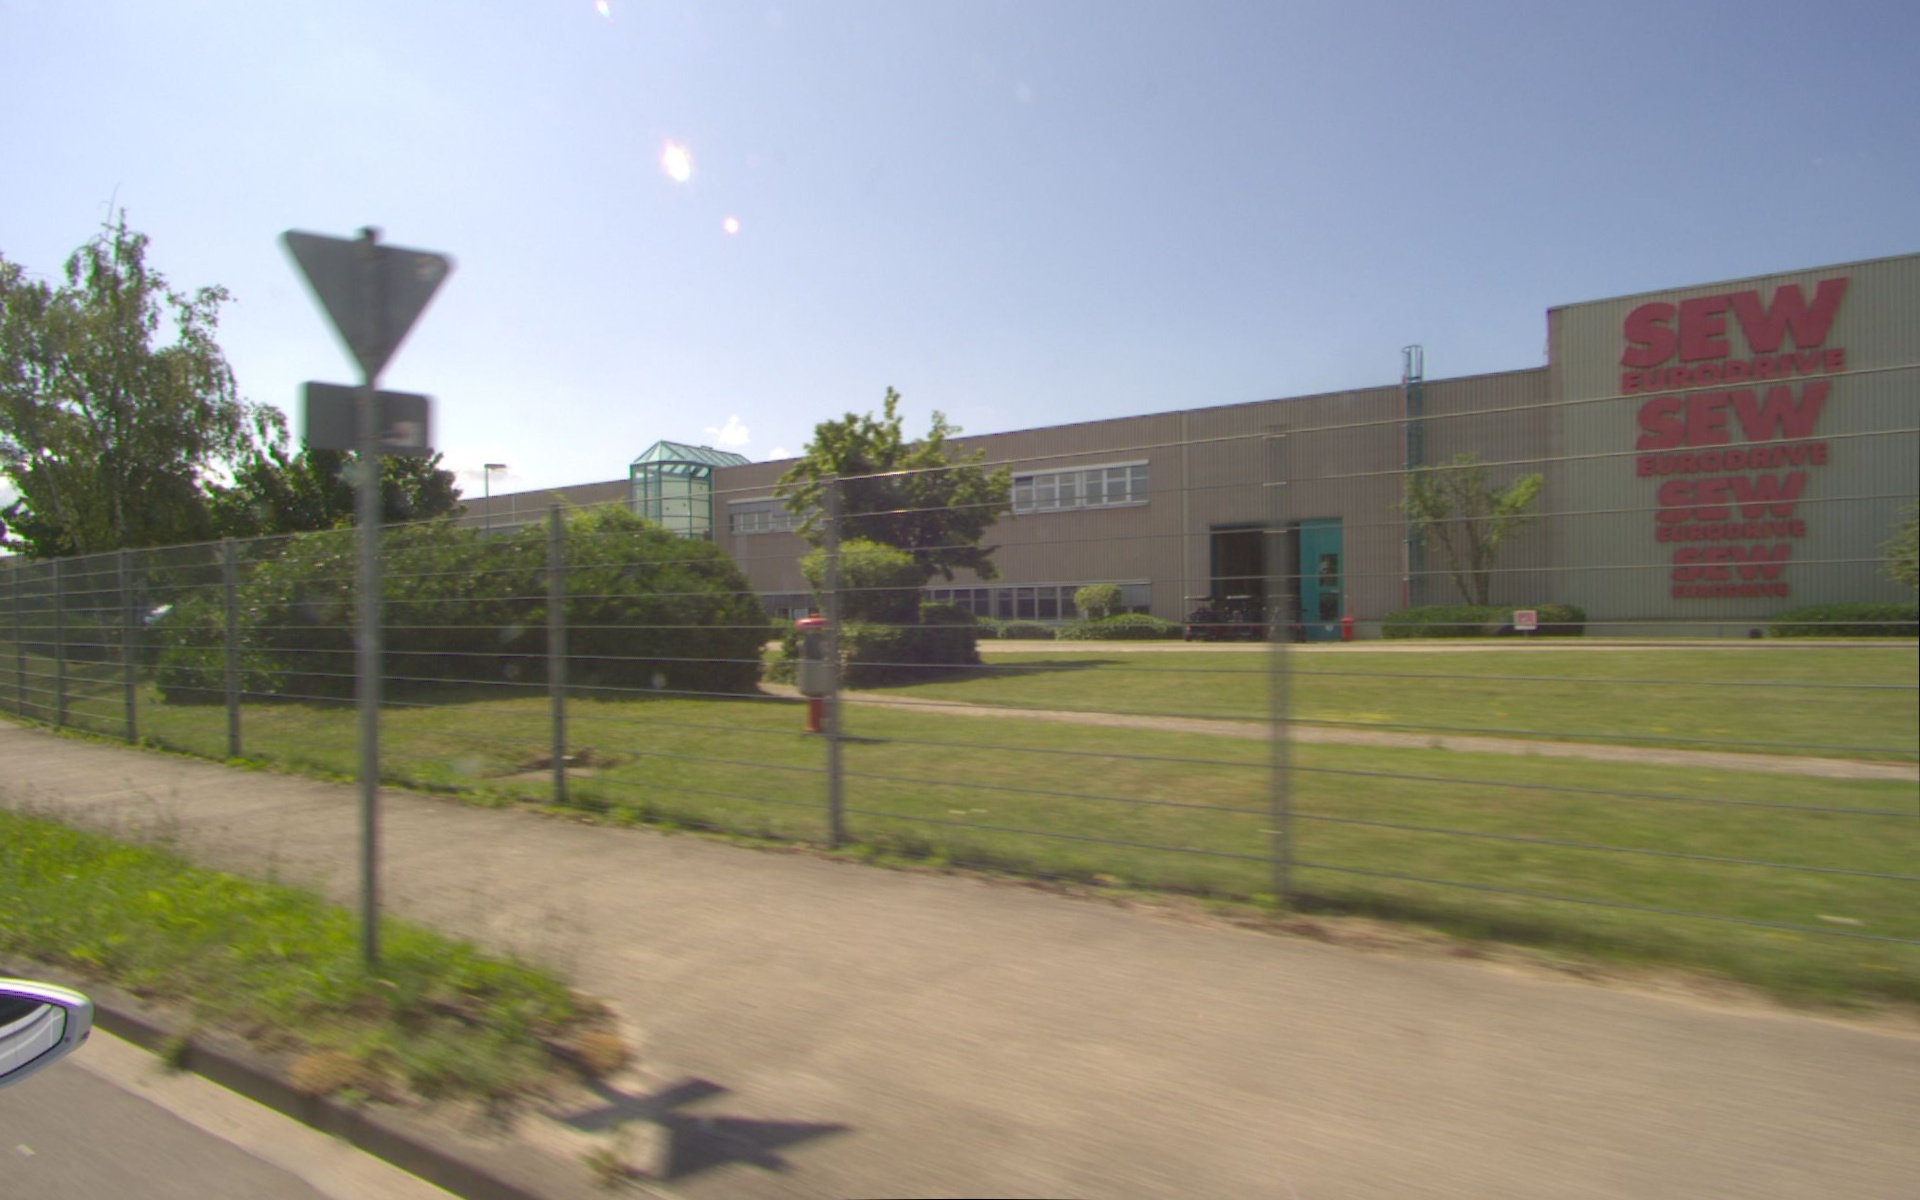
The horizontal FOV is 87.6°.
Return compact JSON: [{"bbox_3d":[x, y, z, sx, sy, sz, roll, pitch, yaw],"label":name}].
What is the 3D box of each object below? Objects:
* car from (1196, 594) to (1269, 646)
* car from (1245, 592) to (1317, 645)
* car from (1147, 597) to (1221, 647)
[{"bbox_3d":[11.439,0.821,41.905,1.942,2.040,4.152,-1,0,30],"label":"car"},{"bbox_3d":[13.147,0.740,40.862,1.942,2.040,4.152,-1,0,30],"label":"car"},{"bbox_3d":[9.662,0.905,43.008,1.942,2.040,4.152,-1,0,30],"label":"car"}]
